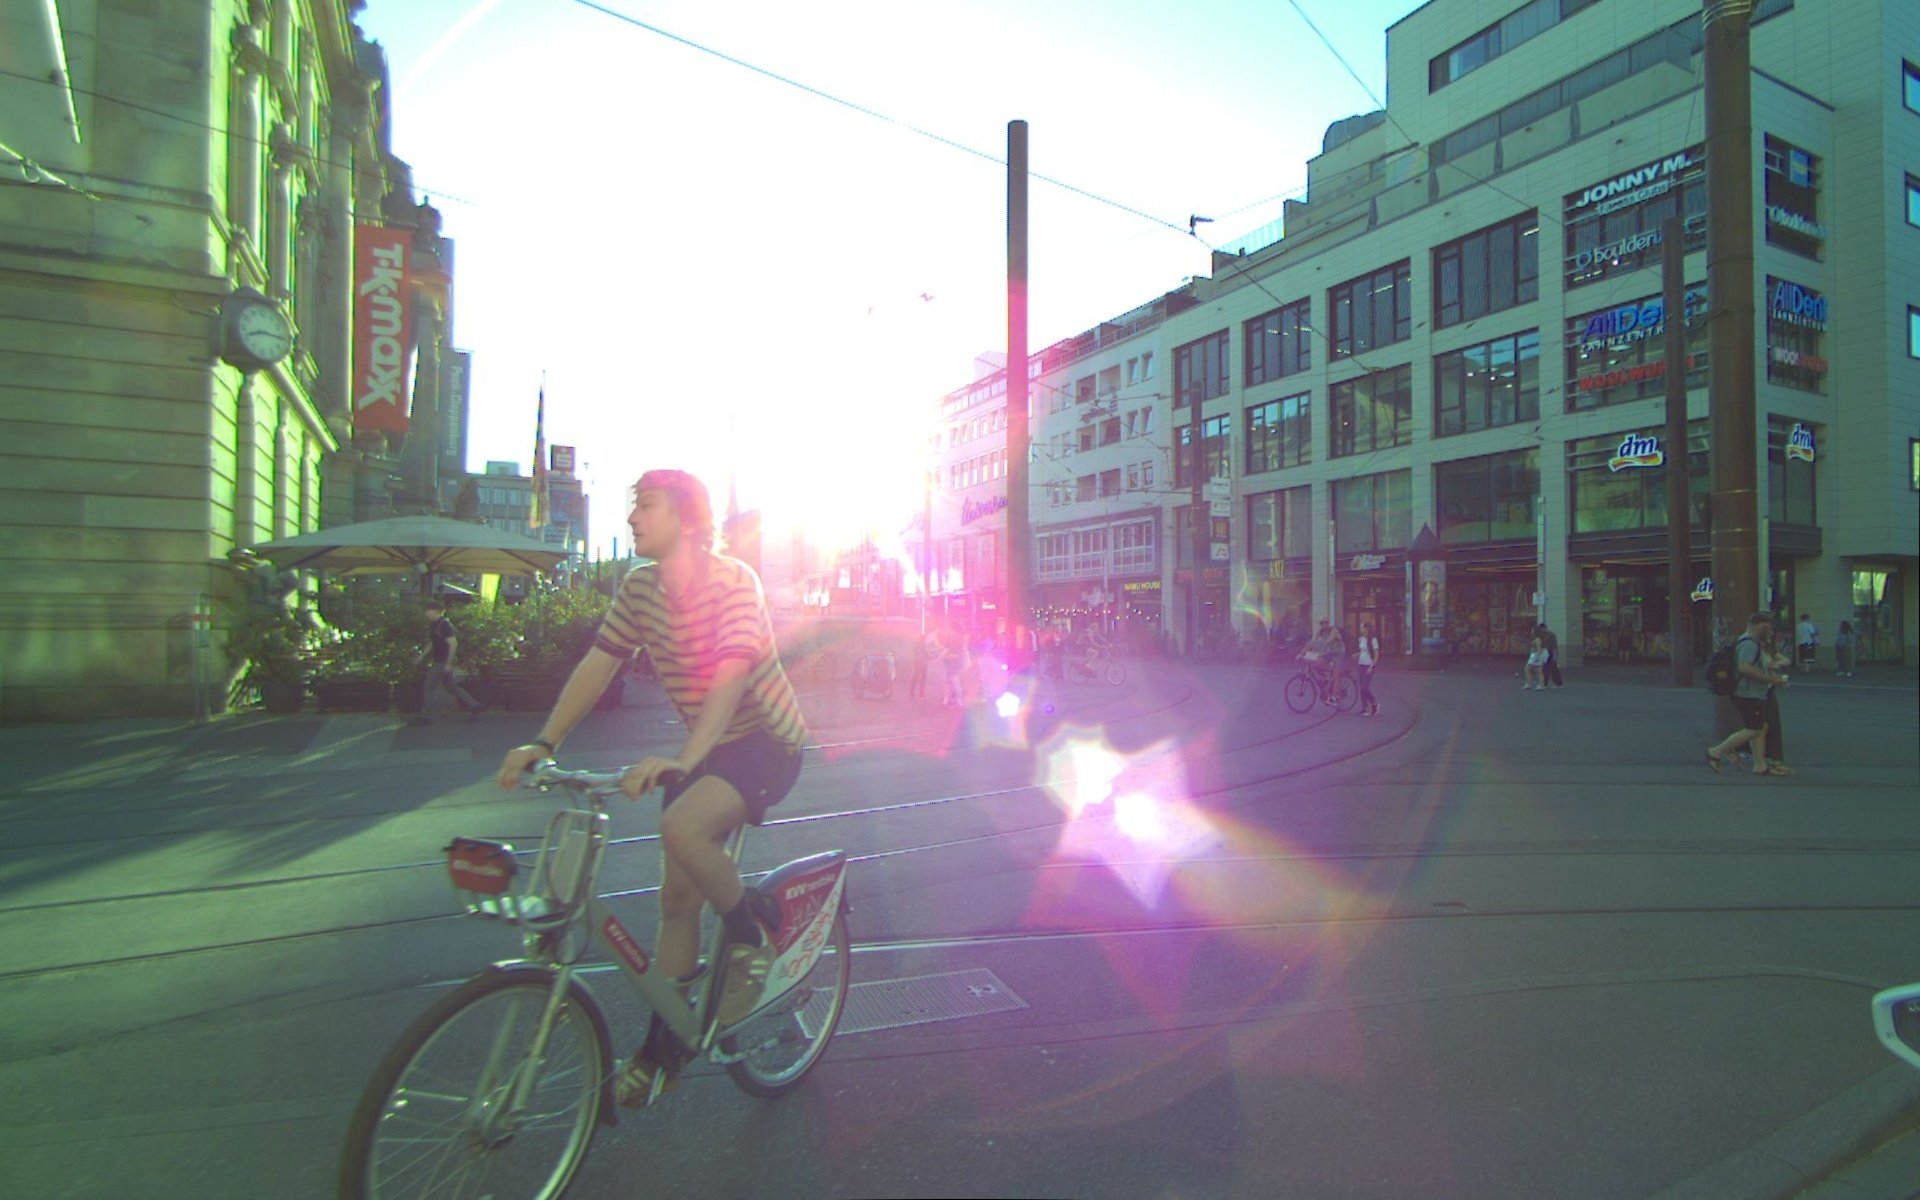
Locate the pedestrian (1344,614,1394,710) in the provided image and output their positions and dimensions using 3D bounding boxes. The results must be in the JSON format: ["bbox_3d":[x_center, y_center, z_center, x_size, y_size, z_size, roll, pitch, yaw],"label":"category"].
[{"bbox_3d":[7.388,1.097,18.156,0.522,1.696,0.648,0,-1,-19],"label":"pedestrian"}]

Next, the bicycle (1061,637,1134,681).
[{"bbox_3d":[3.847,1.629,28.121,1.884,1.130,0.700,1,0,29],"label":"bicycle"}]

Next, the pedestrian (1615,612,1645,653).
[{"bbox_3d":[25.380,1.230,38.066,0.777,1.547,0.573,1,0,-16],"label":"pedestrian"}]

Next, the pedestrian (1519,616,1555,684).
[{"bbox_3d":[14.764,1.263,25.689,0.642,1.696,0.527,0,-1,-27],"label":"pedestrian"}]

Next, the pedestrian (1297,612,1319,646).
[{"bbox_3d":[17.680,1.466,51.025,0.675,1.702,0.811,1,0,-26],"label":"pedestrian"}]

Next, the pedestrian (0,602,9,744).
[{"bbox_3d":[-10.605,0.788,10.727,0.494,1.545,0.517,0,0,-24],"label":"pedestrian"}]

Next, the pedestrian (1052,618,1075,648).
[{"bbox_3d":[5.663,1.801,55.119,0.888,1.658,0.947,1,-2,-24],"label":"pedestrian"}]

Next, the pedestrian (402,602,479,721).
[{"bbox_3d":[-7.445,0.853,14.398,0.960,1.650,0.686,0,0,-29],"label":"pedestrian"}]

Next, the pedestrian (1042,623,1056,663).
[{"bbox_3d":[3.729,1.794,41.973,0.573,1.658,0.685,0,-1,7],"label":"pedestrian"}]

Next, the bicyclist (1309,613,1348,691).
[{"bbox_3d":[6.932,0.969,18.894,0.556,1.446,0.419,1,0,-26],"label":"bicyclist"}]

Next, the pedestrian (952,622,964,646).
[{"bbox_3d":[-0.163,2.389,69.843,0.676,1.658,0.582,1,-2,-26],"label":"pedestrian"}]

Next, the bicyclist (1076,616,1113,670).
[{"bbox_3d":[3.765,1.192,28.171,0.858,1.484,0.598,1,0,29],"label":"bicyclist"}]

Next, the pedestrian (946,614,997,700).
[{"bbox_3d":[0.219,1.104,19.778,0.760,1.635,0.664,-1,-1,37],"label":"pedestrian"}]

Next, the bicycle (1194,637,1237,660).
[{"bbox_3d":[11.758,2.214,46.217,1.887,0.999,0.451,1,0,8],"label":"bicycle"}]

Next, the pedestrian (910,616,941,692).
[{"bbox_3d":[-0.737,1.138,21.492,0.470,1.594,0.651,-1,-1,17],"label":"pedestrian"}]

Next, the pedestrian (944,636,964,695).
[{"bbox_3d":[-0.121,1.406,21.663,0.404,1.259,0.485,0,-1,3],"label":"pedestrian"}]

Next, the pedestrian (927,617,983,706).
[{"bbox_3d":[-0.099,1.144,19.027,0.810,1.635,0.690,-1,-1,37],"label":"pedestrian"}]

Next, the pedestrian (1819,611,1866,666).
[{"bbox_3d":[27.583,1.207,31.399,0.802,1.681,0.767,1,0,-14],"label":"pedestrian"}]

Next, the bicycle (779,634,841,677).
[{"bbox_3d":[-3.948,1.453,26.426,1.559,1.100,0.448,1,0,-25],"label":"bicycle"}]

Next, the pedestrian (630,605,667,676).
[{"bbox_3d":[-7.730,1.001,24.930,0.492,1.728,0.716,1,0,45],"label":"pedestrian"}]

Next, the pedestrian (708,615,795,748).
[{"bbox_3d":[-2.726,1.027,13.132,0.823,1.650,0.799,0,-1,44],"label":"pedestrian"}]

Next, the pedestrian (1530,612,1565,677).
[{"bbox_3d":[15.587,1.181,26.658,0.642,1.696,0.527,0,-1,-27],"label":"pedestrian"}]

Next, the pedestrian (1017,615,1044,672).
[{"bbox_3d":[2.088,1.288,29.891,0.641,1.696,0.528,0,-1,-21],"label":"pedestrian"}]

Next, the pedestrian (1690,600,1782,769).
[{"bbox_3d":[8.285,0.877,10.724,0.735,1.722,0.607,-1,-1,40],"label":"pedestrian"}]

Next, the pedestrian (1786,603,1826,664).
[{"bbox_3d":[26.322,1.031,31.257,0.803,1.879,0.573,1,0,-16],"label":"pedestrian"}]

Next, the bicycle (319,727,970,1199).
[{"bbox_3d":[-0.714,0.977,2.734,0.620,1.118,1.618,-2,-3,39],"label":"bicycle"}]

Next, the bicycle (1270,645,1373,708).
[{"bbox_3d":[6.781,1.409,18.817,1.995,1.112,0.571,1,0,-26],"label":"bicycle"}]

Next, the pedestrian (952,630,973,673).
[{"bbox_3d":[0.102,2.055,40.383,0.642,1.696,0.527,0,-1,-27],"label":"pedestrian"}]

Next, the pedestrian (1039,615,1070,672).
[{"bbox_3d":[2.834,1.299,30.157,0.743,1.696,0.528,0,-1,-21],"label":"pedestrian"}]

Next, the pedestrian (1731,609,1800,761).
[{"bbox_3d":[8.820,0.910,10.996,0.563,1.614,0.446,-1,-1,41],"label":"pedestrian"}]

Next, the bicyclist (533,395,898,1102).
[{"bbox_3d":[-0.661,0.347,2.800,0.601,1.614,0.788,-1,-1,41],"label":"bicyclist"}]

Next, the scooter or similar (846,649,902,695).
[{"bbox_3d":[-1.849,1.531,21.466,0.878,0.916,1.090,0,-1,-26],"label":"scooter or similar"}]
